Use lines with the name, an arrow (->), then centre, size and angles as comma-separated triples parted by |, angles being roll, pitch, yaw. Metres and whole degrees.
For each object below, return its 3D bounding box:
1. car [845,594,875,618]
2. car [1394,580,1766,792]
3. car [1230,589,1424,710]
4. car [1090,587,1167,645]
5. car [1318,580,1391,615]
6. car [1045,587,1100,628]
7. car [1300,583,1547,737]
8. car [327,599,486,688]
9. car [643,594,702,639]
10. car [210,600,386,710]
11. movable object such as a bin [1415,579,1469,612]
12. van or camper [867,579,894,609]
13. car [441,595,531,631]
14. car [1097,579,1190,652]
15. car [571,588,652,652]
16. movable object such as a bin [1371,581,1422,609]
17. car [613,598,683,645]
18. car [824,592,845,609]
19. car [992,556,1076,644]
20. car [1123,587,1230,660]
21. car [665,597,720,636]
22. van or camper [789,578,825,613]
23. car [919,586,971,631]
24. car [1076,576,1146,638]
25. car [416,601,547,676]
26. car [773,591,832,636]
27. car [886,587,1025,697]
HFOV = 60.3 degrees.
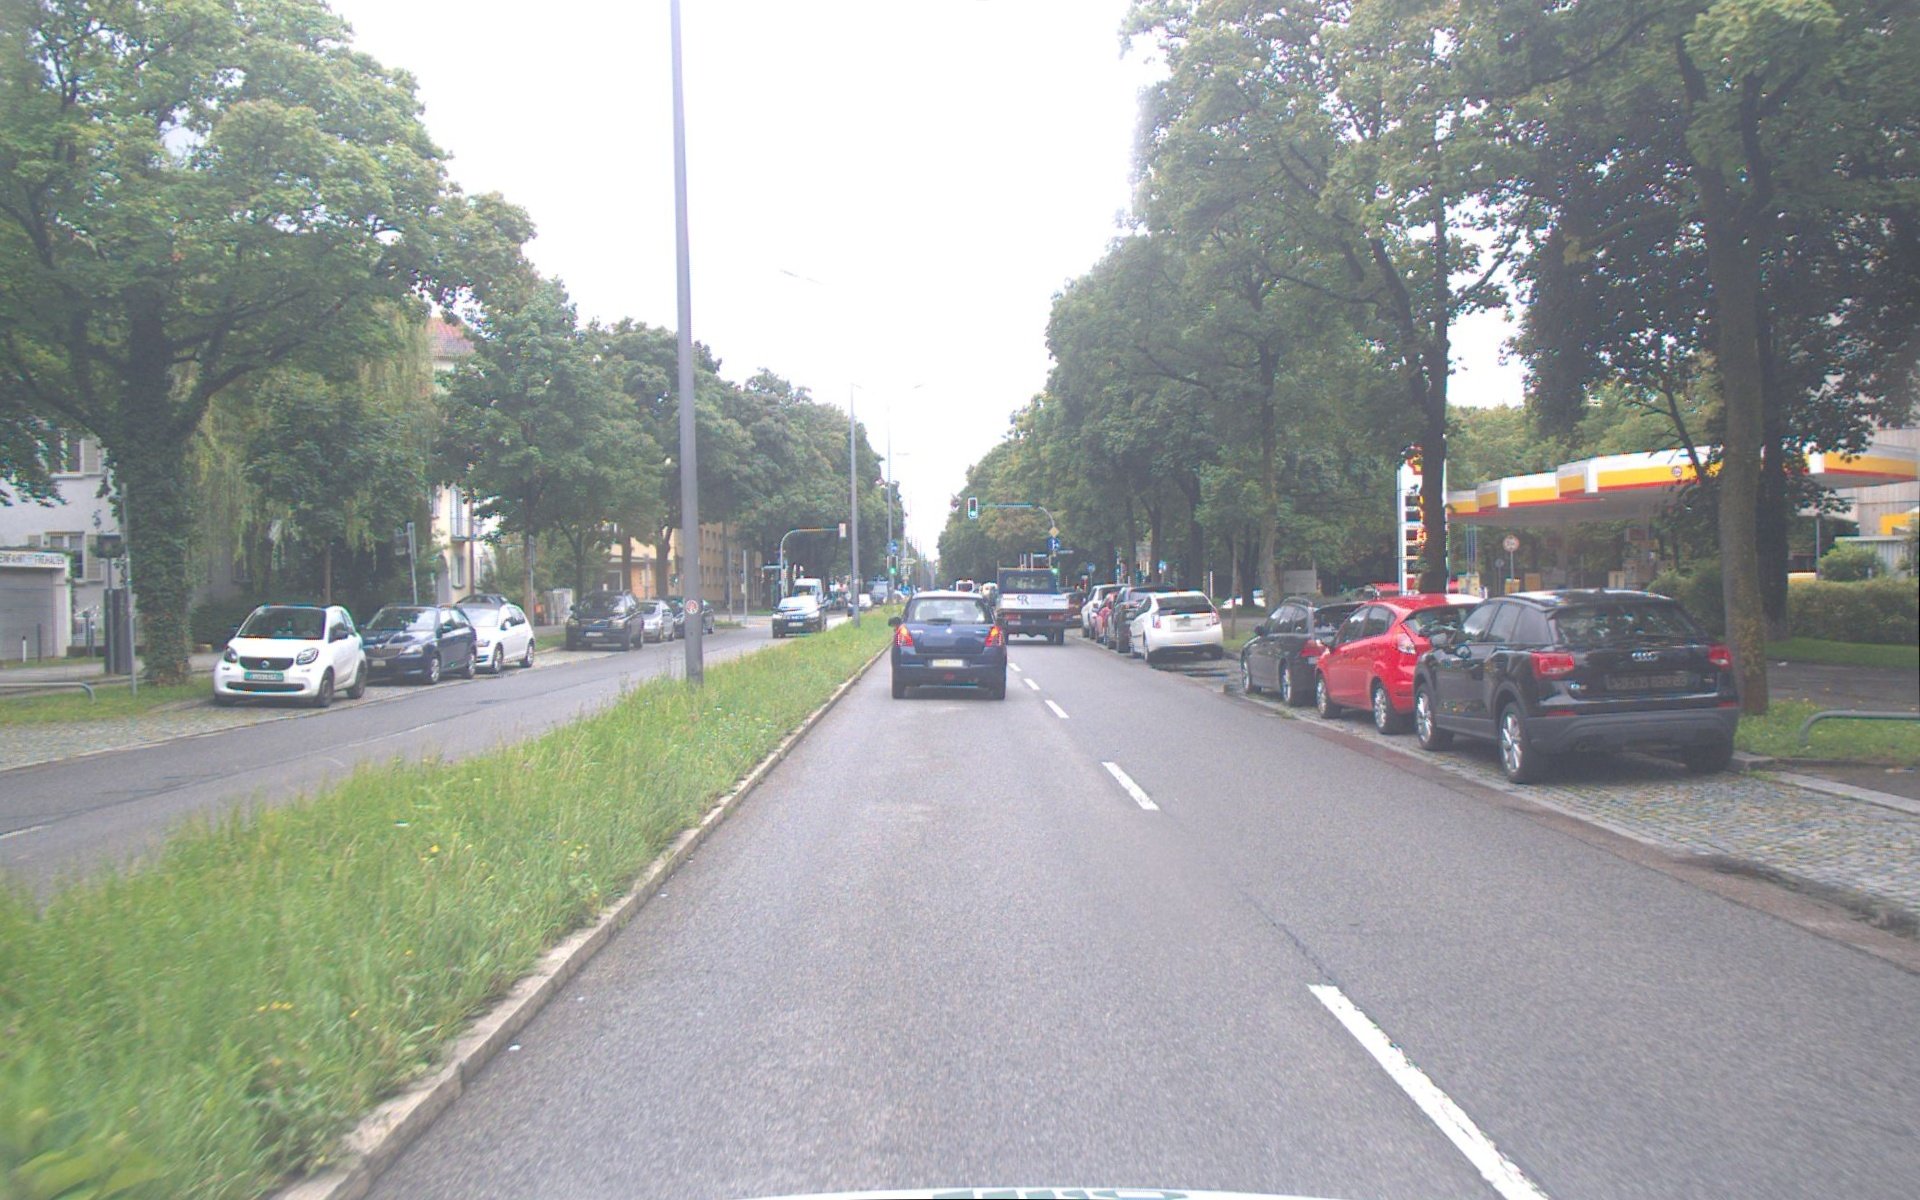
car -> -6.503, 0.386, 107.756 | 1.702, 1.467, 4.103 | -2, 0, 0
car -> 5.338, 0.642, 14.878 | 1.743, 1.537, 4.285 | -3, 0, 1
car -> 5.140, 0.627, 23.761 | 1.641, 1.479, 4.581 | -3, 0, -1
car -> 4.902, 0.425, 48.625 | 1.725, 1.533, 4.143 | -3, 0, -1
car -> 23.147, -0.155, 97.163 | 3.799, 1.638, 1.934 | -5, 0, 6
car -> 4.566, 0.282, 67.616 | 1.678, 1.449, 4.281 | -5, 1, -2
car -> 5.269, 0.610, 19.339 | 1.641, 1.527, 4.021 | -3, 0, -1
car -> -10.535, 0.781, 31.794 | 1.640, 1.501, 4.215 | 2, 0, -1
car -> -10.834, 0.577, 62.503 | 1.633, 1.589, 4.297 | -1, 0, -3
car -> -10.532, 0.837, 26.526 | 1.657, 1.593, 3.078 | 2, 0, -3
movable object such as a bin -> 23.131, -0.237, 79.452 | 2.019, 1.512, 1.837 | -1, 0, -1
van or camper -> -6.350, -0.465, 133.153 | 1.982, 2.300, 6.020 | -2, 0, -2
car -> -21.103, 0.563, 73.750 | 3.560, 1.487, 1.671 | -1, 0, -3
car -> 4.755, 0.363, 43.565 | 1.725, 1.728, 5.229 | -3, 0, -1
car -> -10.620, 0.571, 50.690 | 1.761, 1.794, 5.053 | 2, 0, -5
movable object such as a bin -> 20.948, -0.261, 79.414 | 2.018, 1.285, 1.531 | -1, 0, -1
car -> -10.794, 0.719, 57.475 | 1.632, 1.470, 4.374 | 2, 0, -1
car -> -11.039, 0.031, 145.813 | 1.603, 1.467, 3.734 | -2, 0, -1
car -> 2.149, -0.023, 49.585 | 2.369, 2.487, 5.087 | 0, 0, 1
car -> 4.895, 0.495, 38.005 | 1.725, 1.479, 4.632 | -3, 0, -1
car -> -10.989, 0.649, 68.055 | 1.532, 1.475, 3.838 | 2, 0, 1
van or camper -> -11.571, -0.339, 125.388 | 2.096, 2.519, 6.258 | -2, 0, 0
car -> -0.547, 0.275, 59.080 | 1.762, 1.525, 3.659 | -1, 0, -1
car -> 4.856, 0.202, 53.675 | 1.725, 1.862, 4.527 | -3, 0, -1
car -> -10.580, 0.810, 36.846 | 1.640, 1.468, 4.320 | 2, 0, 0
car -> -5.598, 0.449, 59.082 | 1.703, 1.465, 4.215 | -2, 1, -1
car -> -0.140, 0.571, 24.700 | 1.859, 1.525, 3.657 | 0, 0, -4
